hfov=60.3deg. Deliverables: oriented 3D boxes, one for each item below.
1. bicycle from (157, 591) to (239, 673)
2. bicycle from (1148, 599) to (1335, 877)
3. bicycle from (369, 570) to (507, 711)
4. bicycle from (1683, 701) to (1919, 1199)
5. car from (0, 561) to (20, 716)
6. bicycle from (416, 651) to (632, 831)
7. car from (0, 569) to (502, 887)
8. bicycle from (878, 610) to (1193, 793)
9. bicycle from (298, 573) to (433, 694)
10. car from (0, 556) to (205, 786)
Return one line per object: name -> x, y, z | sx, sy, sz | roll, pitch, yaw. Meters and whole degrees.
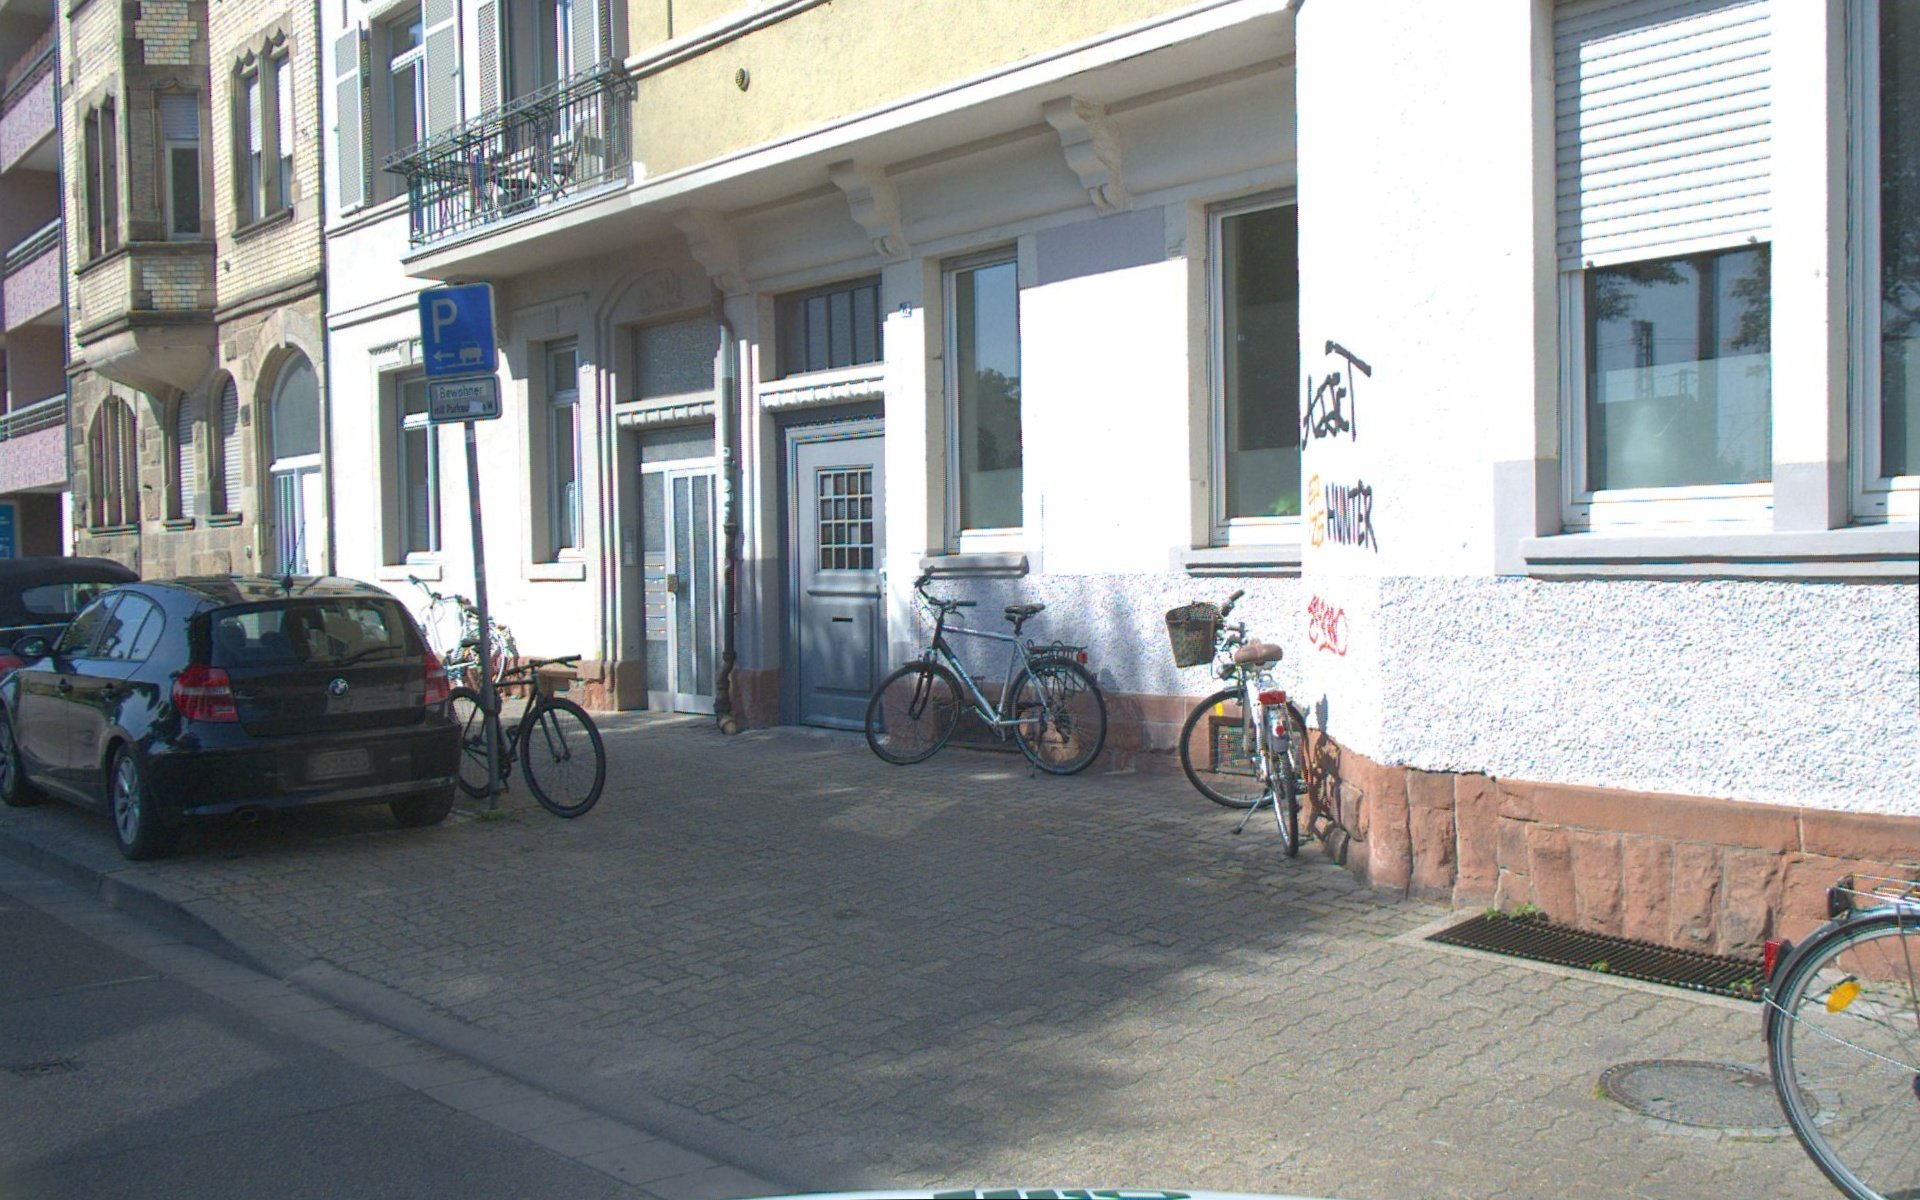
bicycle -> -9.818, 0.393, 21.276 | 0.505, 0.986, 1.628 | -3, 2, -41
bicycle -> 1.285, 0.581, 7.846 | 0.526, 1.064, 1.828 | -2, 3, -1
bicycle -> -5.040, 0.360, 15.925 | 1.600, 1.200, 0.564 | 4, 6, 45
bicycle -> 2.272, 0.793, 2.953 | 1.704, 1.106, 0.575 | 0, 2, 43
car -> -11.054, 0.380, 16.828 | 1.635, 1.478, 4.060 | -3, 2, -44
bicycle -> -2.570, 0.786, 9.662 | 1.554, 0.907, 0.446 | 0, 3, 44
car -> -4.471, 0.570, 9.721 | 1.733, 1.441, 4.015 | -2, 2, -44
bicycle -> 0.420, 0.580, 10.291 | 0.605, 0.961, 2.079 | -5, 4, -44
bicycle -> -6.215, 0.323, 17.260 | 1.599, 1.166, 0.653 | 1, 4, 45
car -> -7.577, 0.474, 13.135 | 1.635, 1.527, 3.945 | -4, 3, -44
